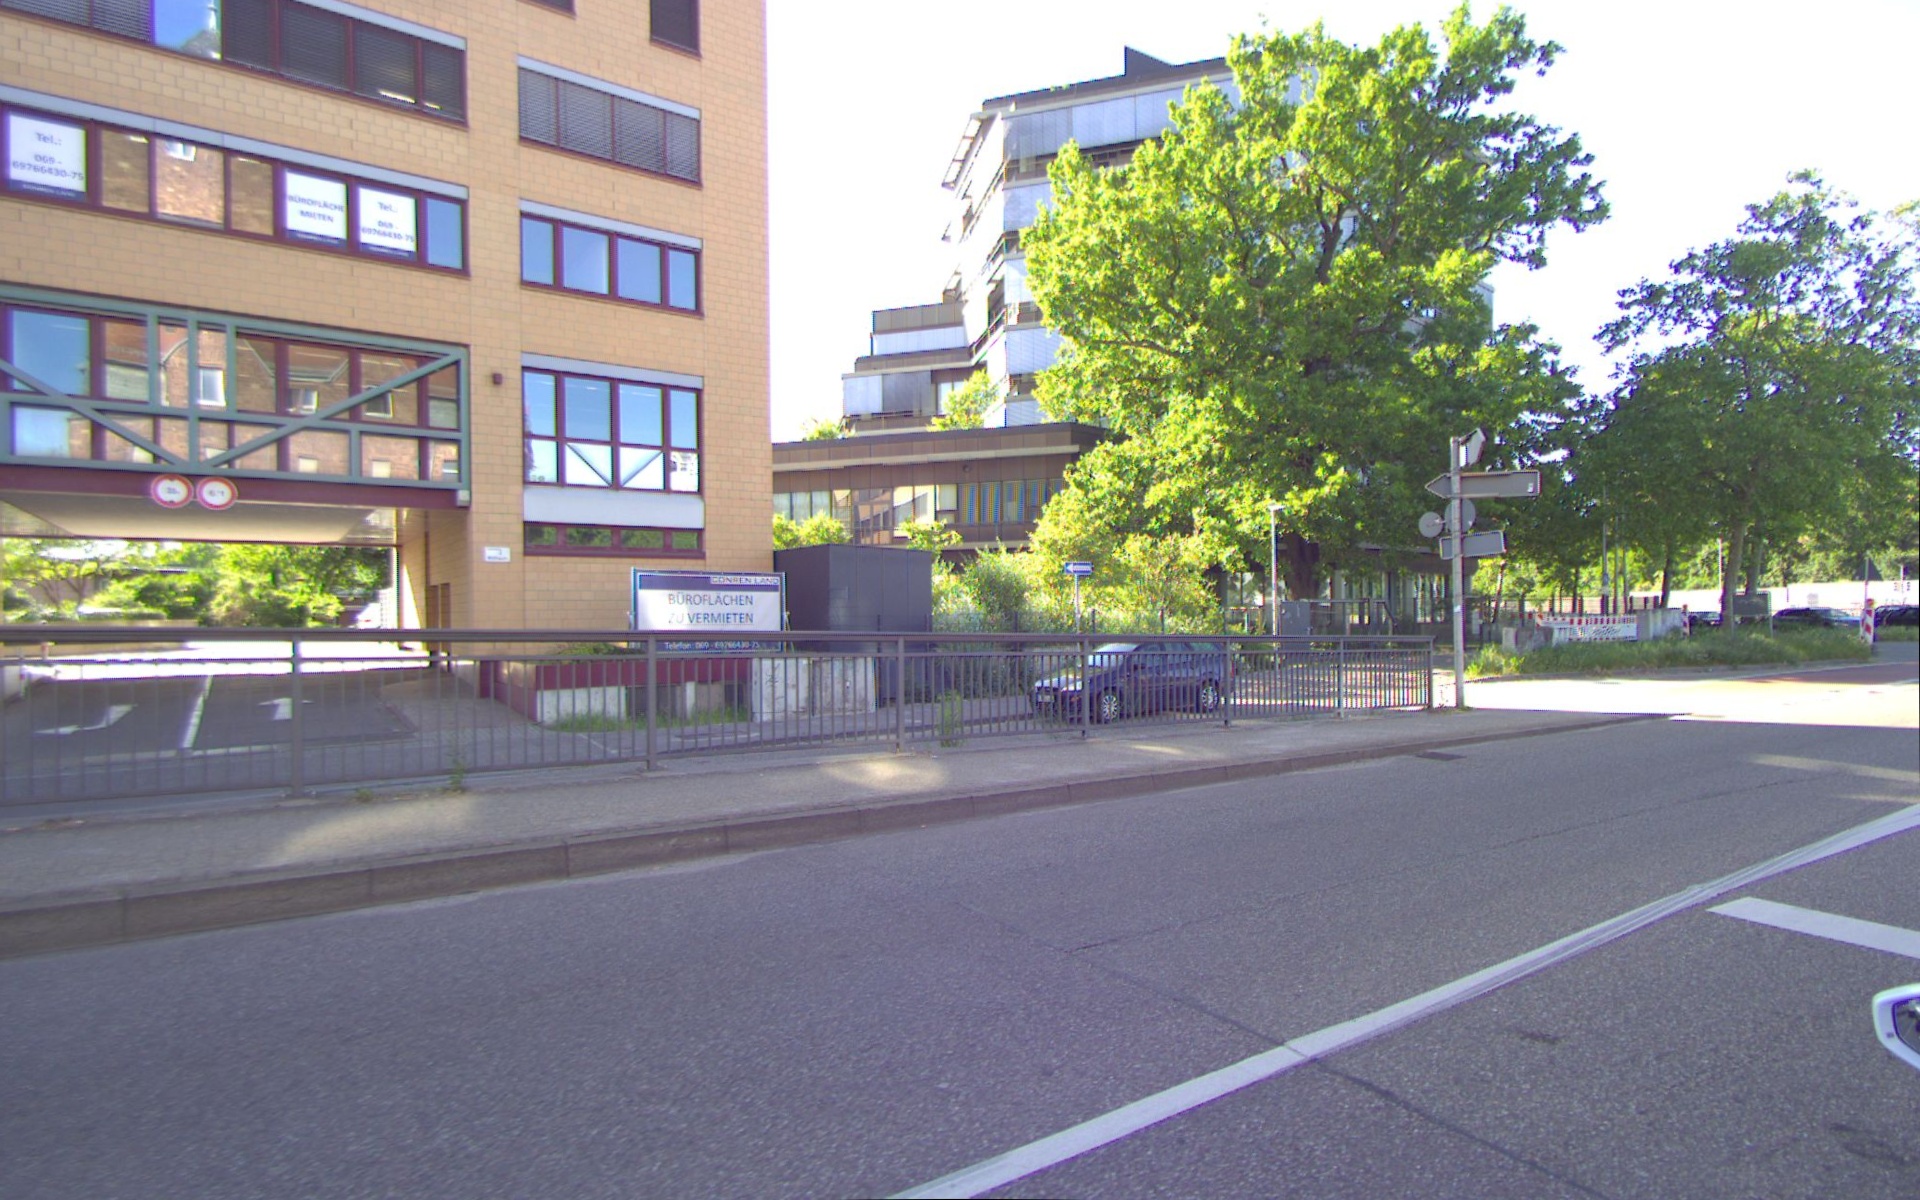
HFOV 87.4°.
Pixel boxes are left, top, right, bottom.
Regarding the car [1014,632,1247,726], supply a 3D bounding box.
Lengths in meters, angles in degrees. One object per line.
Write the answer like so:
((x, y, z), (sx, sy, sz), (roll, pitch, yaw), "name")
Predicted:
((3.347, 1.442, 19.459), (4.402, 1.523, 1.810), (0, -1, -33), "car")

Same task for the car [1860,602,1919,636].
((41.966, 0.824, 43.553), (1.790, 1.458, 4.450), (-1, -1, -2), "car")

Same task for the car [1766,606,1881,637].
((42.836, 1.057, 49.987), (1.790, 1.458, 4.450), (-1, -1, -2), "car")
